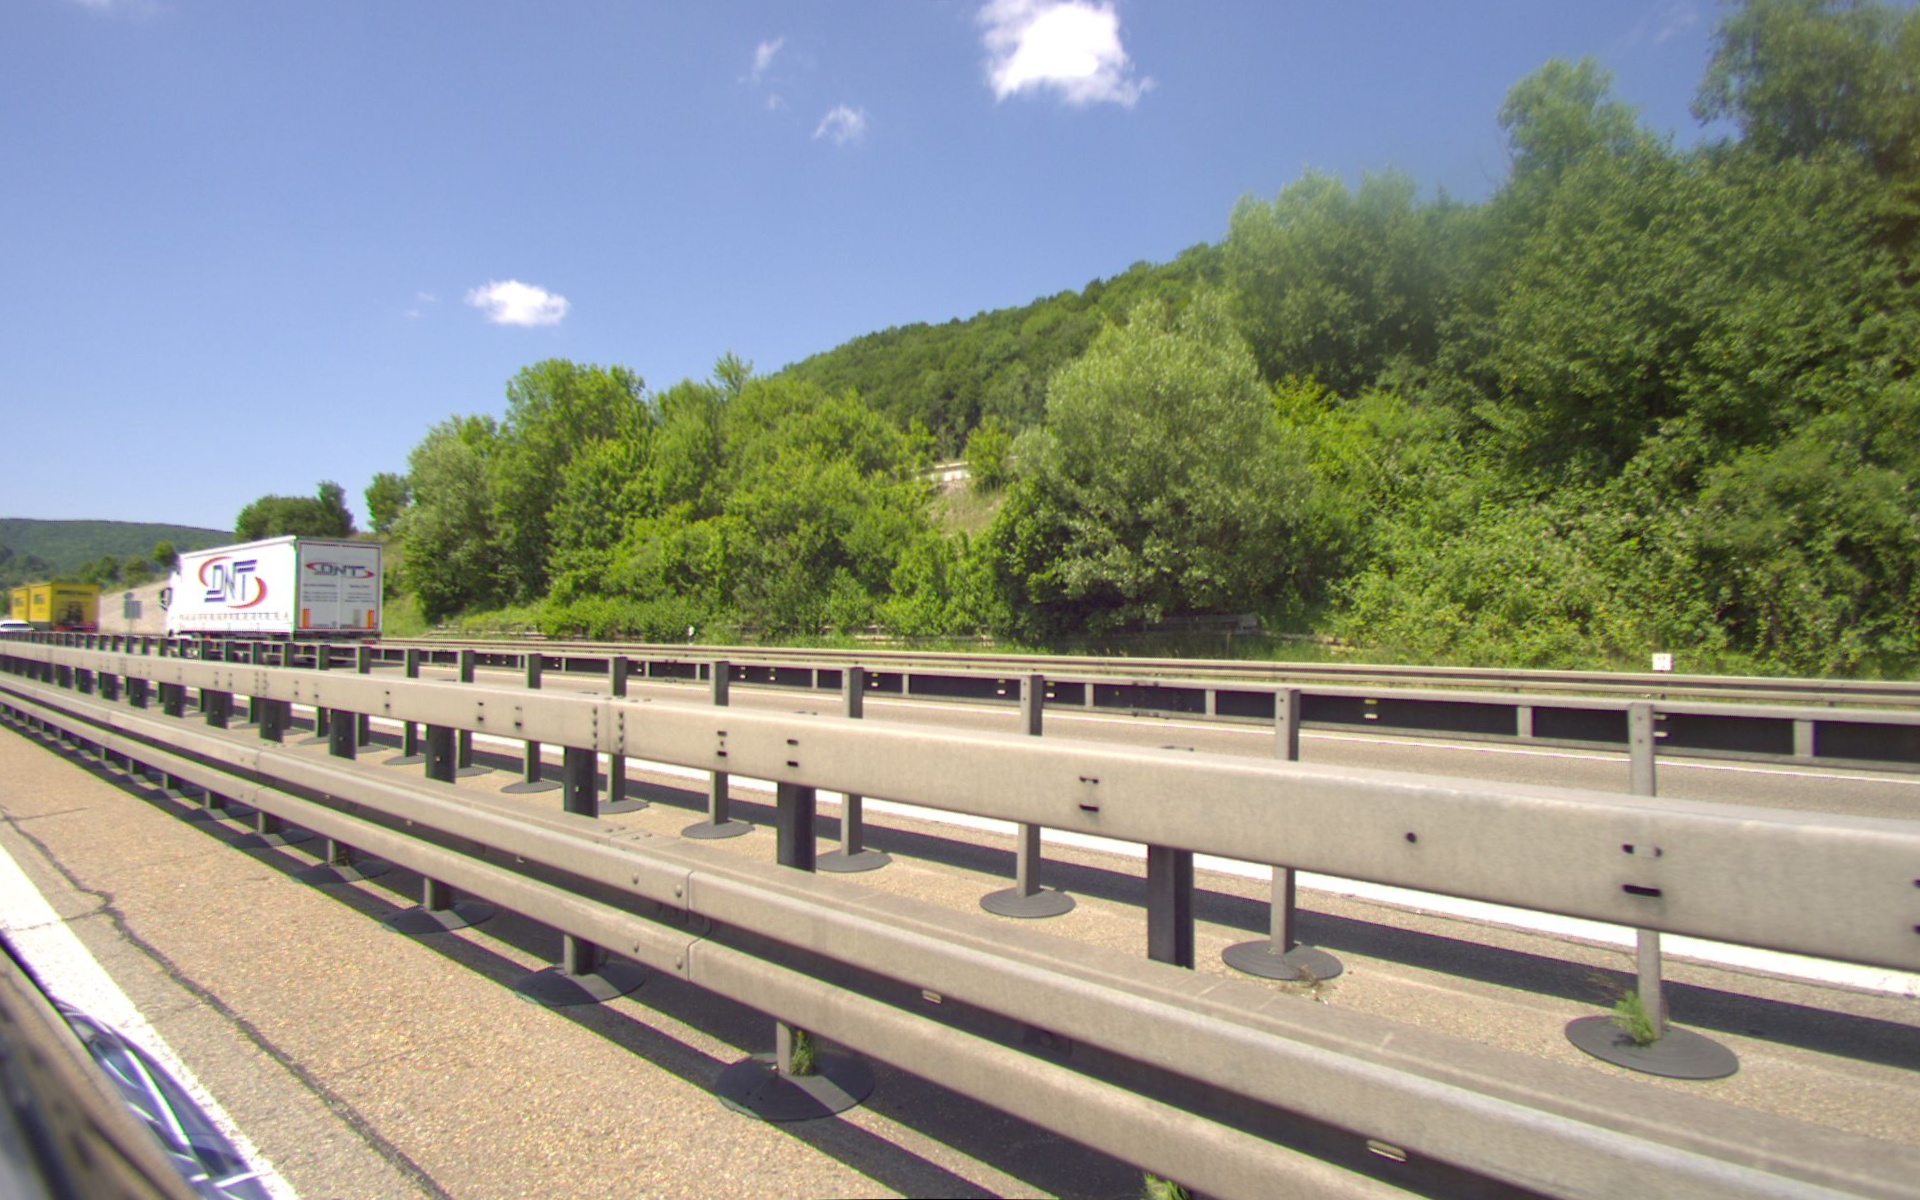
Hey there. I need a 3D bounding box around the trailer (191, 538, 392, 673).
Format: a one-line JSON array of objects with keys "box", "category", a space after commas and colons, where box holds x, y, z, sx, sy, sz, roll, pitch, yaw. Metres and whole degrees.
[{"box": [-23.722, 0.280, 35.532, 11.255, 4.107, 2.827, -1, -3, 41], "category": "trailer"}]

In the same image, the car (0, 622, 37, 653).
[{"box": [-49.846, 1.943, 53.037, 3.998, 1.530, 1.729, -1, -1, 41], "category": "car"}]

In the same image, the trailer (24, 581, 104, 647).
[{"box": [-60.866, 0.958, 68.632, 10.400, 4.178, 2.797, -1, -1, 41], "category": "trailer"}]

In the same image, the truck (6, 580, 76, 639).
[{"box": [-68.365, 0.739, 75.240, 9.610, 4.178, 2.797, -1, -1, 41], "category": "truck"}]

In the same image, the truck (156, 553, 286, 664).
[{"box": [-29.861, 0.412, 40.834, 5.845, 4.133, 2.879, -1, -3, 41], "category": "truck"}]
